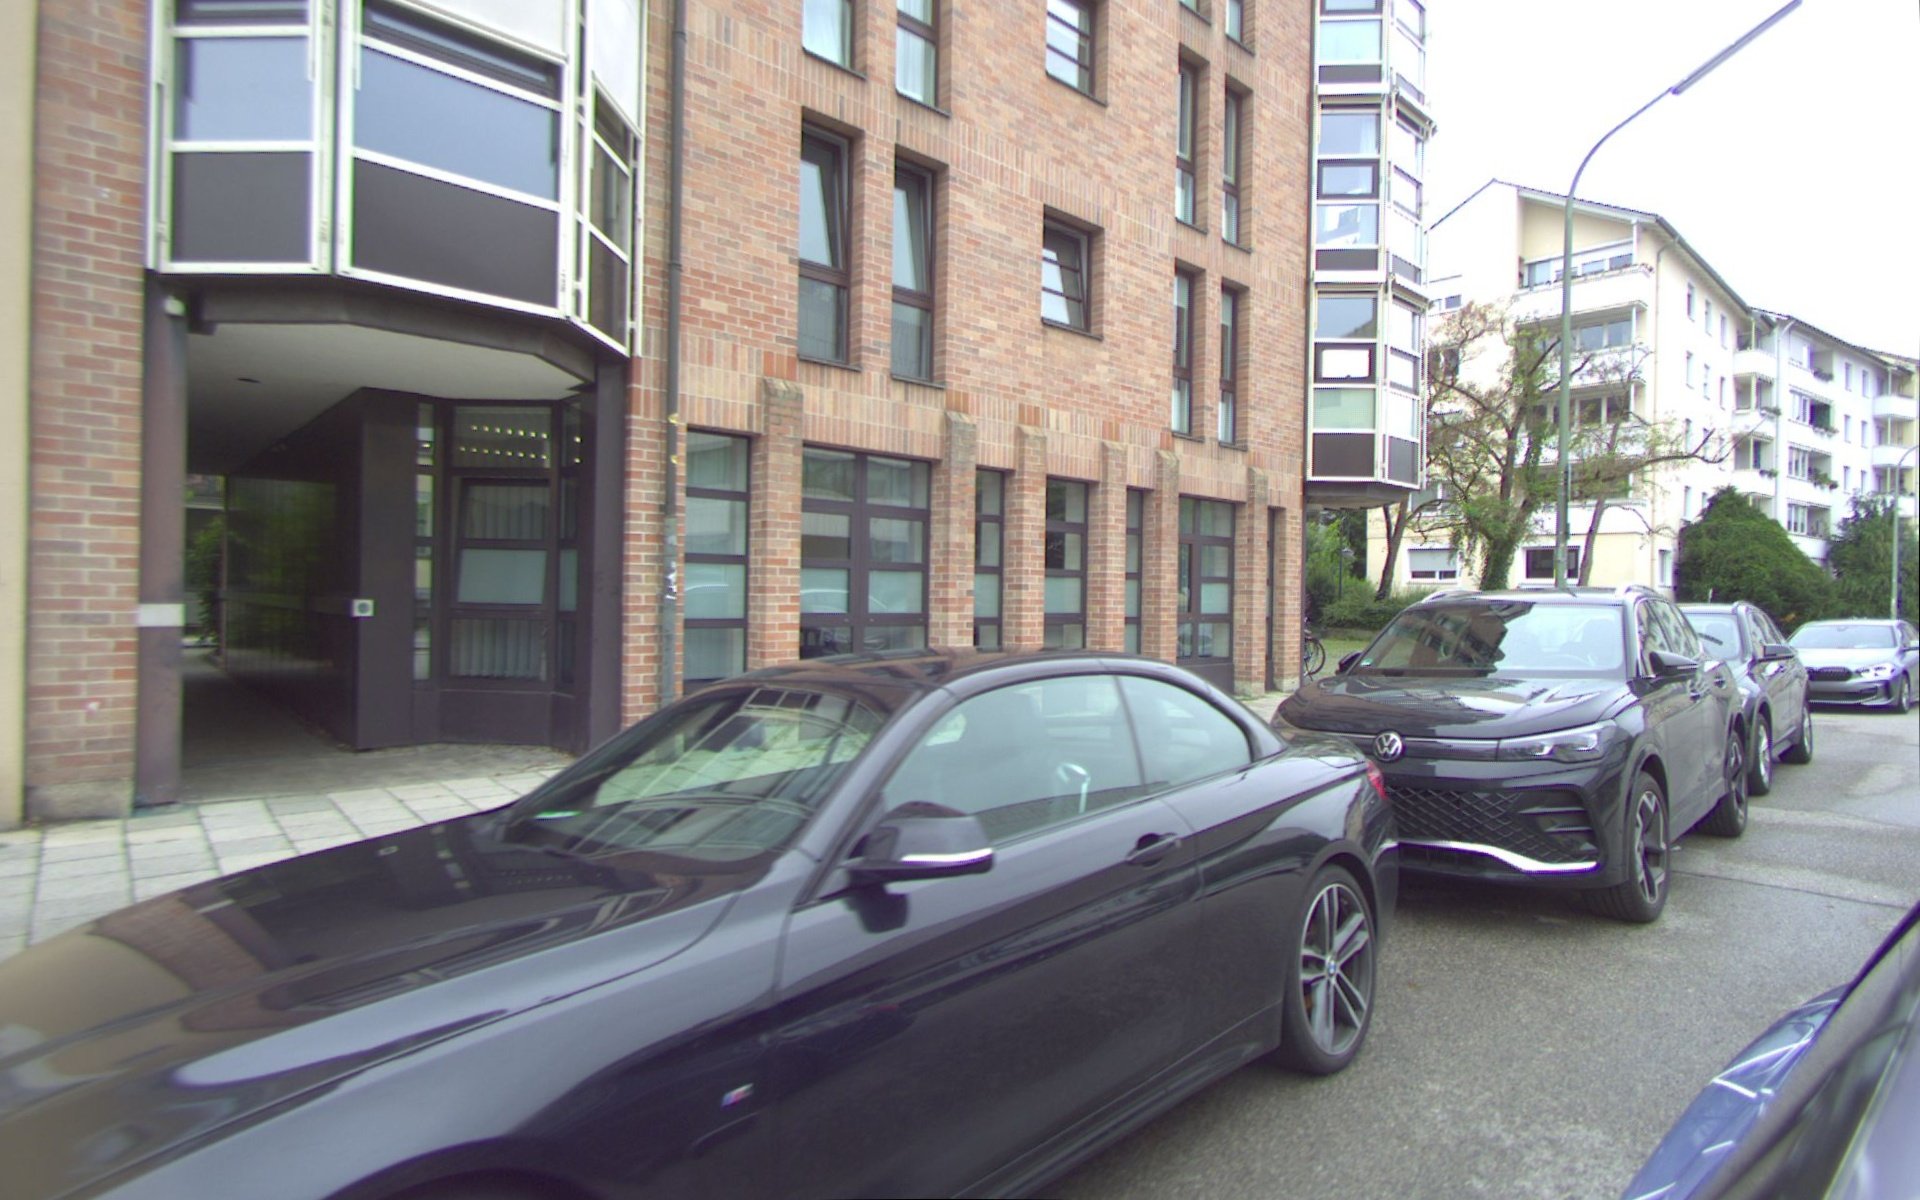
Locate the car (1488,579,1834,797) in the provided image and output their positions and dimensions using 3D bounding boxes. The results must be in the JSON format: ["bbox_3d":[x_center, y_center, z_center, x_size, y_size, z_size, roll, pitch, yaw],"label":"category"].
[{"bbox_3d":[6.888,0.656,9.737,4.432,1.611,1.879,1,1,-44],"label":"car"}]

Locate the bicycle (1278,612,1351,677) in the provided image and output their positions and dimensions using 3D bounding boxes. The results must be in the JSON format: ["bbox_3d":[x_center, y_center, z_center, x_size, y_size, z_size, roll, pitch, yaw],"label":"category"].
[{"bbox_3d":[6.177,0.750,17.613,1.492,1.069,0.535,1,0,-42],"label":"bicycle"}]

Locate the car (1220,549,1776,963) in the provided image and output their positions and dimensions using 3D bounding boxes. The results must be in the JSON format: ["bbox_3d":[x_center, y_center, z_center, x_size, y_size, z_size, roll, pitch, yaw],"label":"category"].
[{"bbox_3d":[3.656,0.658,6.391,1.877,1.667,4.569,-2,-2,44],"label":"car"}]

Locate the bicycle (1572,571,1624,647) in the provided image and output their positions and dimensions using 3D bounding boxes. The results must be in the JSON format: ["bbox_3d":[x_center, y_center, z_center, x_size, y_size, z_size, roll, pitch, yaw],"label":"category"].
[{"bbox_3d":[17.667,0.244,28.004,1.958,2.039,0.653,1,0,-42],"label":"bicycle"}]

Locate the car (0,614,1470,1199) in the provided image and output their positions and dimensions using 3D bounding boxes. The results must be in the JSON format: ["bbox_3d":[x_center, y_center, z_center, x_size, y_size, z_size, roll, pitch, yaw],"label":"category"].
[{"bbox_3d":[-0.304,0.785,2.988,4.702,1.383,1.758,0,-3,-44],"label":"car"}]

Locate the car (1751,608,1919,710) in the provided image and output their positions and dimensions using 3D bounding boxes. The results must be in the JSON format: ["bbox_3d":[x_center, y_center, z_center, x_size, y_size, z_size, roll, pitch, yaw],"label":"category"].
[{"bbox_3d":[14.786,0.886,16.588,4.254,1.455,1.881,1,-2,-38],"label":"car"}]
